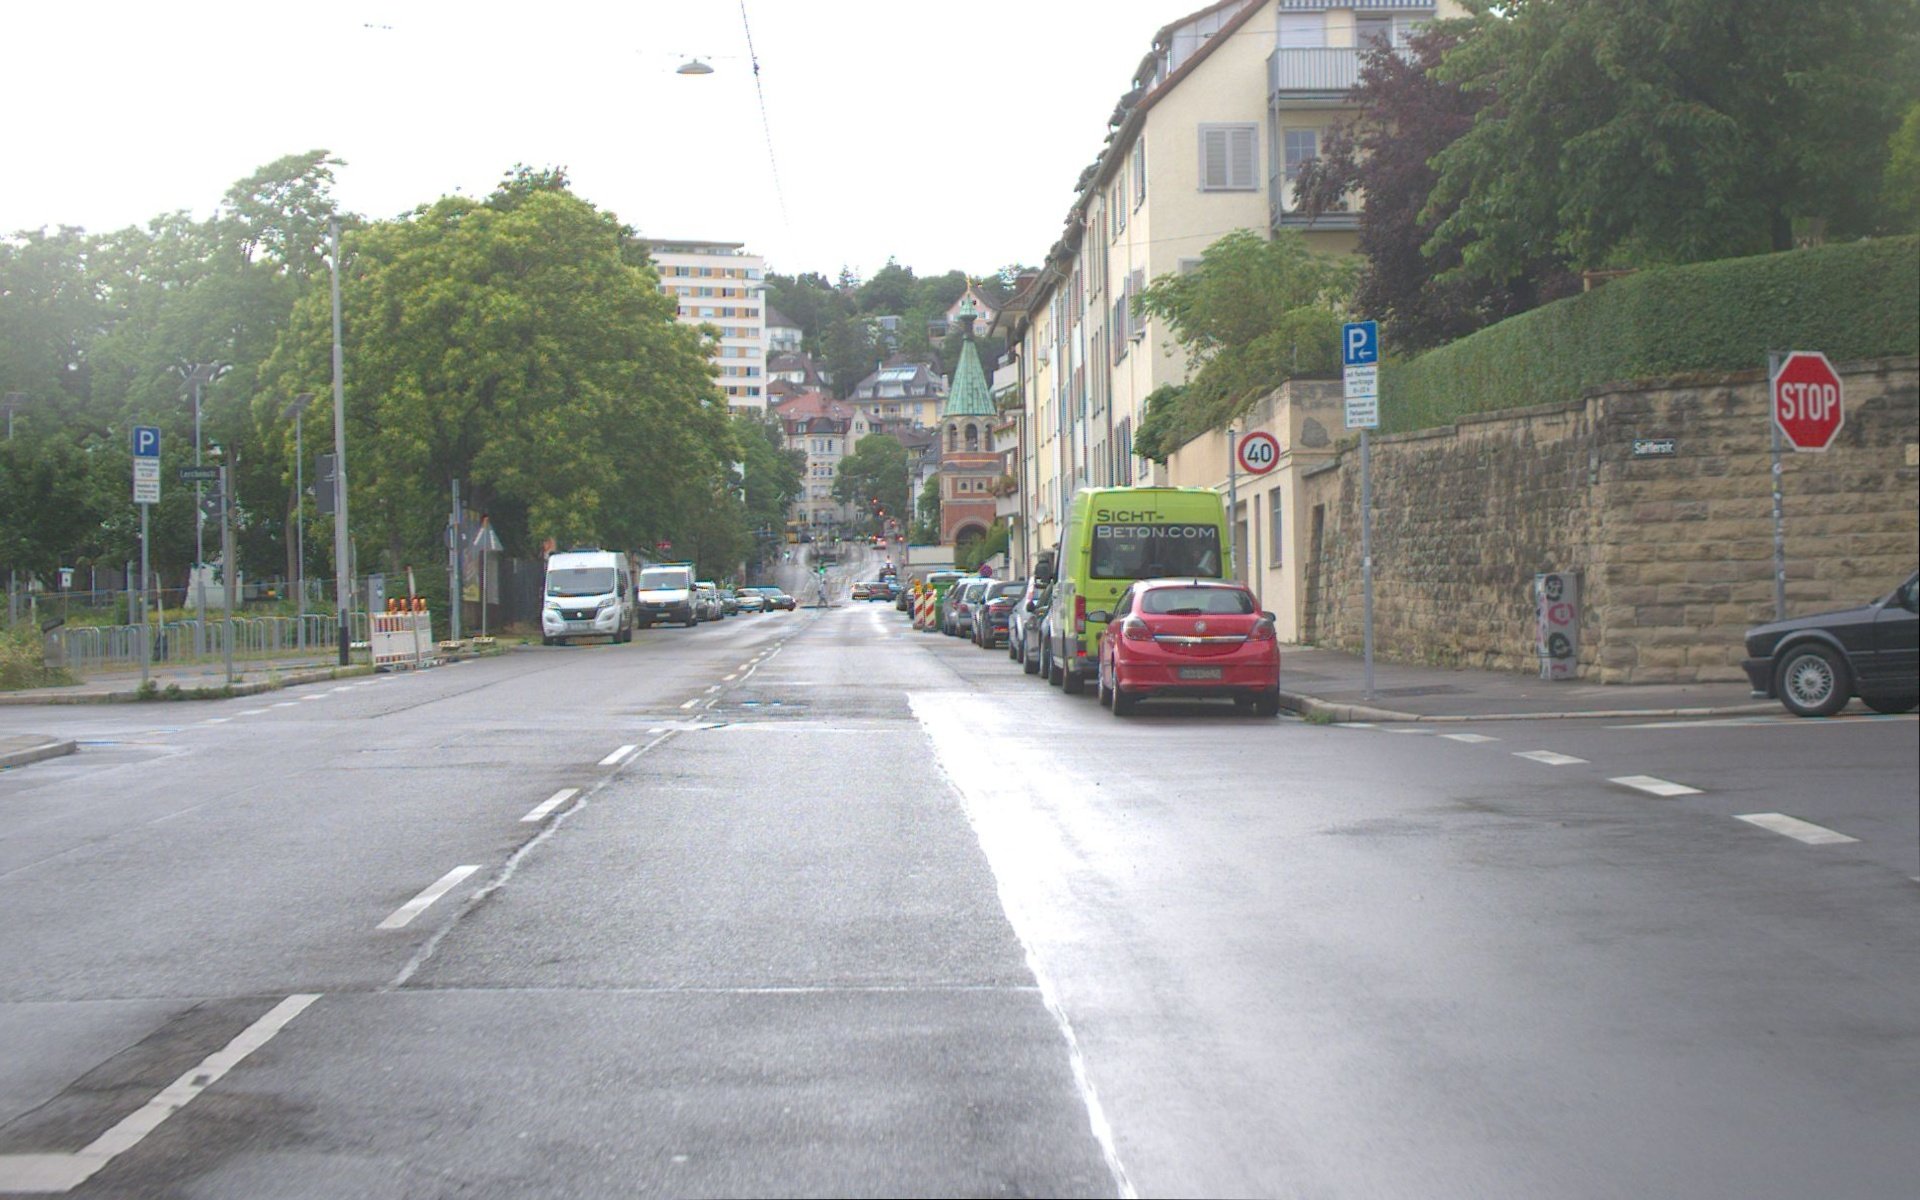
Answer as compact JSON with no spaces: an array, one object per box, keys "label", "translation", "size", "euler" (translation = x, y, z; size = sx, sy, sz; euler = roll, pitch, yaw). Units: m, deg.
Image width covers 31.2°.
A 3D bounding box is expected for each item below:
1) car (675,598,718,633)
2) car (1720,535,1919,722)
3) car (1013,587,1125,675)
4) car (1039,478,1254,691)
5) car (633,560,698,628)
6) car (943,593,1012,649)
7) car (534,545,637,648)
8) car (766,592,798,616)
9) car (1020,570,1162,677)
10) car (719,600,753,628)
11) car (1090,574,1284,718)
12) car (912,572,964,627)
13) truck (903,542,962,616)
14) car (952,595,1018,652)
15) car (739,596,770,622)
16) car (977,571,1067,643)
[{"label":"car","translation":[-11.263,0.668,146.954],"size":[1.682,1.394,3.911],"euler":[-2,-1,-3]},{"label":"car","translation":[8.310,0.158,26.804],"size":[4.273,1.388,1.748],"euler":[-4,-2,41]},{"label":"car","translation":[1.900,0.584,61.007],"size":[1.688,1.449,4.235],"euler":[0,-2,-2]},{"label":"car","translation":[2.246,-0.199,43.086],"size":[2.205,2.455,6.080],"euler":[0,0,-1]},{"label":"car","translation":[-11.204,-0.229,131.134],"size":[2.012,2.479,5.983],"euler":[-2,0,-1]},{"label":"car","translation":[0.470,0.570,95.875],"size":[1.716,1.519,4.000],"euler":[0,0,-2]},{"label":"car","translation":[-9.993,-0.096,92.289],"size":[2.230,2.570,6.538],"euler":[-3,0,-3]},{"label":"car","translation":[-10.936,0.257,211.038],"size":[1.805,1.411,4.384],"euler":[-1,0,-4]},{"label":"car","translation":[1.825,0.303,49.010],"size":[1.688,1.449,4.235],"euler":[0,0,-2]},{"label":"car","translation":[-12.245,0.795,187.760],"size":[1.803,1.446,4.658],"euler":[-2,-1,-4]},{"label":"car","translation":[2.343,0.446,36.390],"size":[1.721,1.416,4.203],"euler":[0,0,-1]},{"label":"car","translation":[-0.818,-0.031,125.343],"size":[1.817,1.917,4.239],"euler":[-2,0,-1]},{"label":"truck","translation":[-1.254,-0.896,151.603],"size":[2.469,3.161,7.036],"euler":[-1,0,-1]},{"label":"car","translation":[0.639,0.597,90.469],"size":[1.558,1.449,3.760],"euler":[0,0,-2]},{"label":"car","translation":[-12.115,0.556,202.735],"size":[1.709,1.446,4.294],"euler":[-2,-1,-3]},{"label":"car","translation":[1.263,0.124,71.245],"size":[1.629,1.449,3.760],"euler":[0,0,-2]}]
